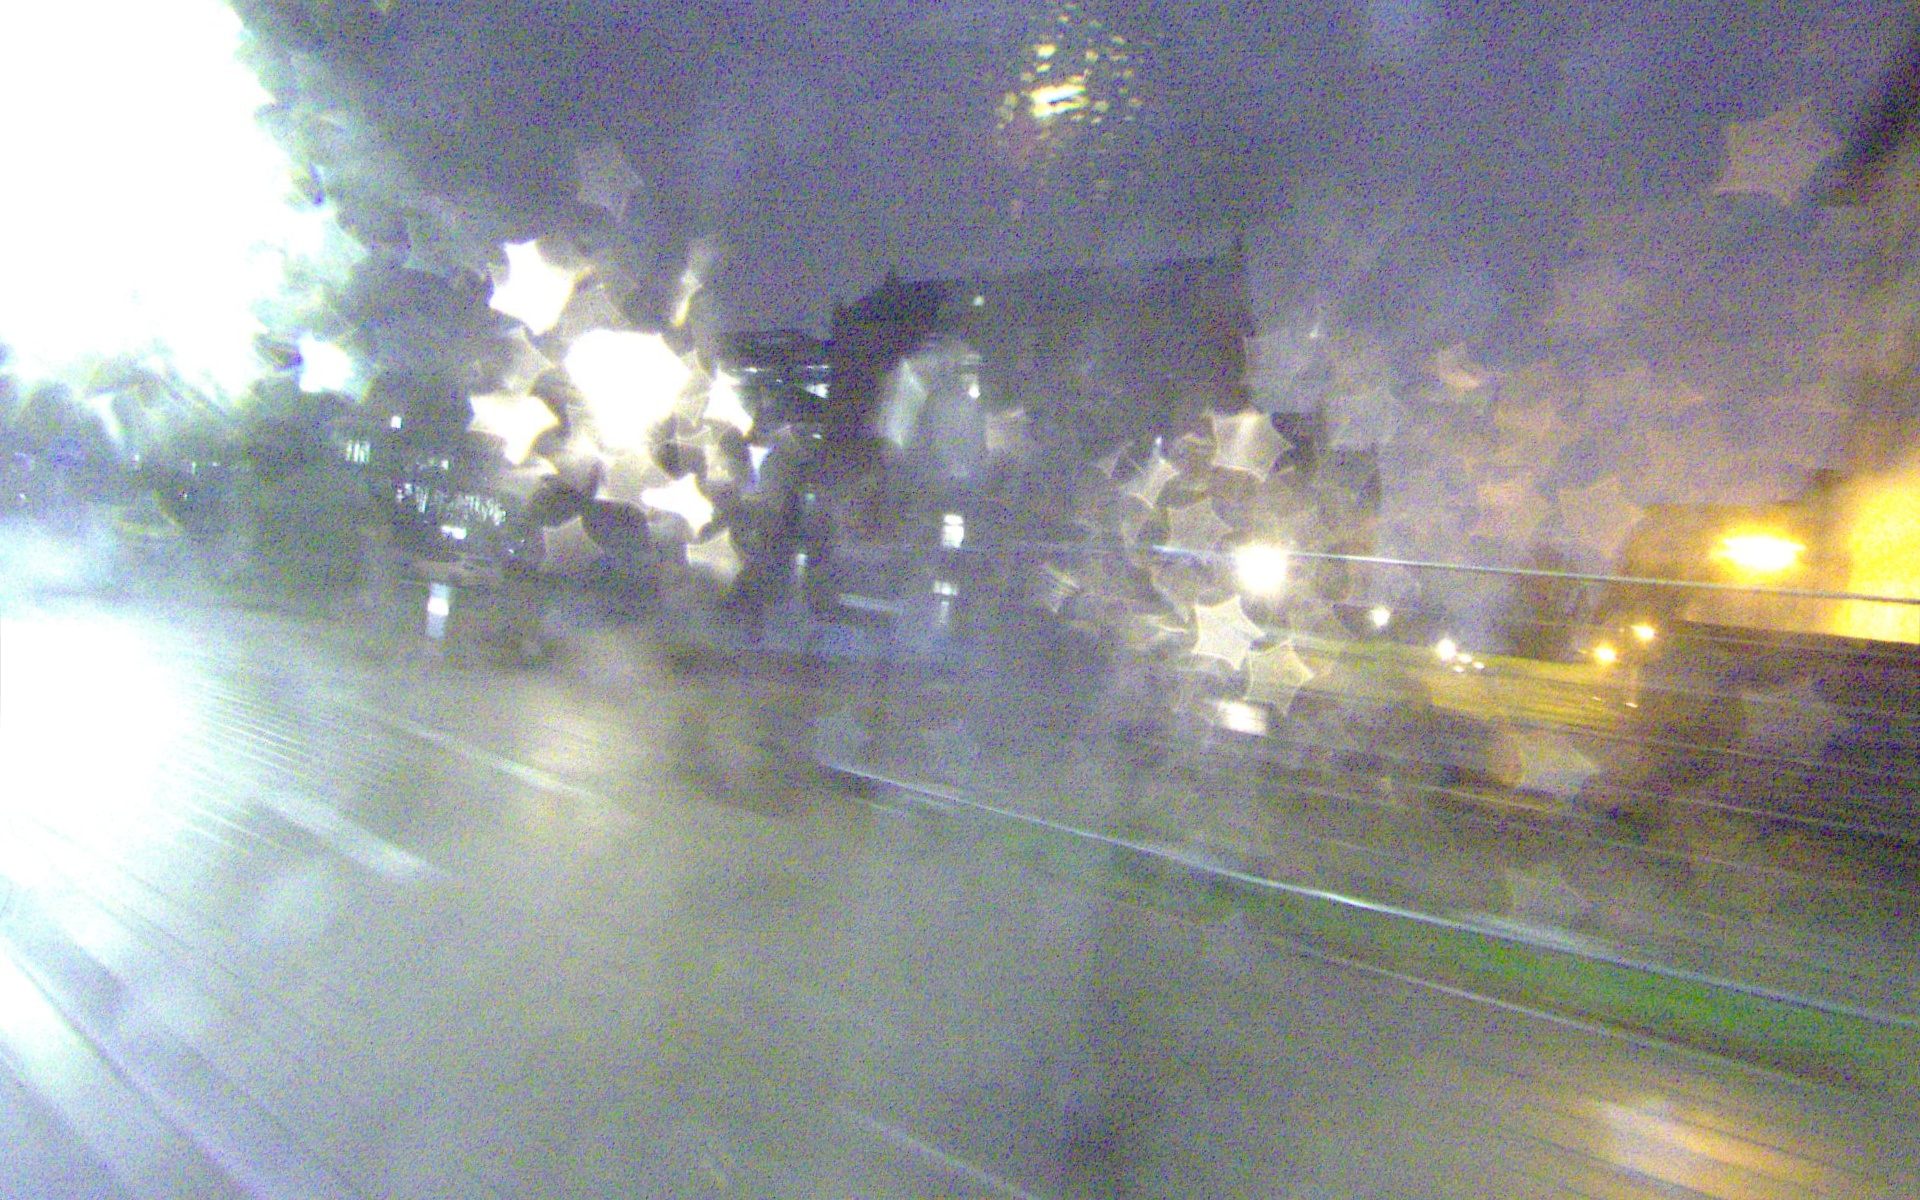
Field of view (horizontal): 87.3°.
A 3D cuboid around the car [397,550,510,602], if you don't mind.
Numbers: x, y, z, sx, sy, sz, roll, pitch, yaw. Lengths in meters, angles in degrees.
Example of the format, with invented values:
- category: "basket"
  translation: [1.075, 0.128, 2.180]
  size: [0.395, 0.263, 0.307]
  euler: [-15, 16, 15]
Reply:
- category: "car"
  translation: [-18.952, -0.916, 37.595]
  size: [4.189, 1.430, 1.682]
  euler: [6, -1, 31]

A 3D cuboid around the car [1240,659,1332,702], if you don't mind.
- category: "car"
  translation: [15.358, 3.774, 47.448]
  size: [3.730, 1.527, 1.751]
  euler: [6, -1, 32]

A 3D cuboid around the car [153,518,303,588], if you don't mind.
- category: "car"
  translation: [-22.525, -1.454, 30.926]
  size: [4.783, 1.566, 1.833]
  euler: [6, -1, 30]

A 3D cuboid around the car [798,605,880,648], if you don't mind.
- category: "car"
  translation: [-5.654, 1.270, 47.415]
  size: [1.641, 1.635, 3.996]
  euler: [6, -2, 29]

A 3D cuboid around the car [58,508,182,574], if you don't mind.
- category: "car"
  translation: [-24.152, -1.699, 28.920]
  size: [3.350, 1.487, 1.566]
  euler: [6, -1, 30]

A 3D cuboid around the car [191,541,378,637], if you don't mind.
- category: "car"
  translation: [-16.020, -0.269, 23.839]
  size: [4.186, 1.717, 1.907]
  euler: [7, 1, 29]

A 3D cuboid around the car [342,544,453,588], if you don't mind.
- category: "car"
  translation: [-25.048, -1.481, 44.933]
  size: [1.652, 1.369, 3.998]
  euler: [7, -1, 27]

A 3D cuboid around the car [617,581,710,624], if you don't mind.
- category: "car"
  translation: [-15.833, 0.172, 54.049]
  size: [1.875, 1.827, 4.661]
  euler: [6, -2, 30]

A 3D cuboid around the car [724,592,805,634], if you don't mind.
- category: "car"
  translation: [-9.646, 0.687, 49.900]
  size: [1.641, 1.635, 3.996]
  euler: [6, -2, 29]

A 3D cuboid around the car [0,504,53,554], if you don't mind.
- category: "car"
  translation: [-33.902, -2.657, 34.298]
  size: [1.656, 1.539, 3.997]
  euler: [7, -1, 27]

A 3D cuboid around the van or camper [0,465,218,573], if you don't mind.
- category: "van or camper"
  translation: [-26.908, -2.471, 31.675]
  size: [2.135, 2.557, 5.071]
  euler: [7, -1, 31]

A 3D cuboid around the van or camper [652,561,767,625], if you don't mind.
- category: "van or camper"
  translation: [-12.441, -0.298, 50.357]
  size: [2.342, 2.584, 5.389]
  euler: [6, -2, 29]

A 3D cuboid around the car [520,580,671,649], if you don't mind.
- category: "car"
  translation: [-10.814, 0.418, 29.777]
  size: [4.187, 1.484, 1.831]
  euler: [6, -3, 30]
